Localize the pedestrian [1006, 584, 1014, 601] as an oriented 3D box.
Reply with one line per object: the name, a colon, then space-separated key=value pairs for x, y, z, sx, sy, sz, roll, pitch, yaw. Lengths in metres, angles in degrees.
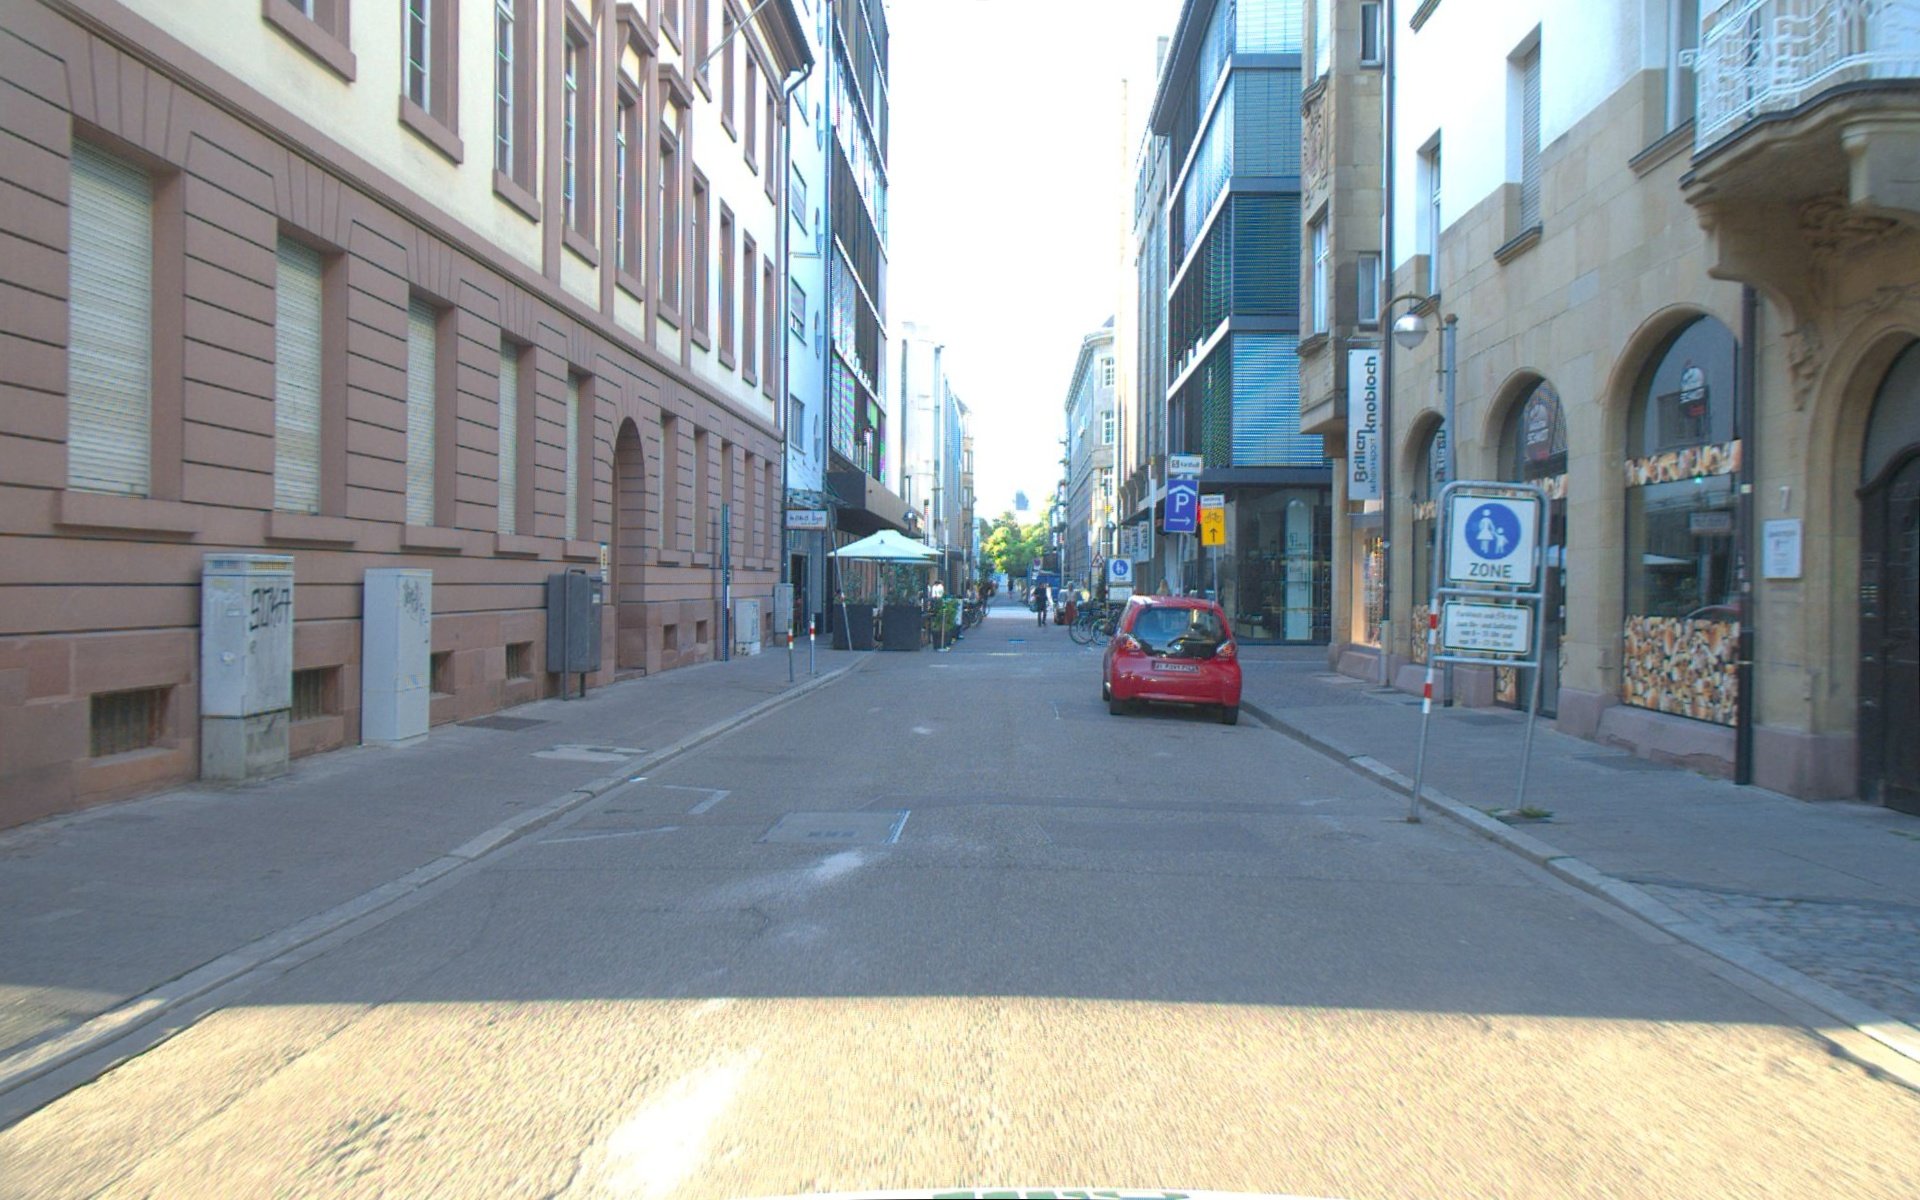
pedestrian: x=5.132 y=-0.756 z=168.316 sx=0.788 sy=1.702 sz=0.889 roll=0 pitch=0 yaw=4

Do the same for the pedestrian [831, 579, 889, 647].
pedestrian: x=-2.256 y=0.292 z=37.330 sx=1.264 sy=1.513 sz=0.661 roll=0 pitch=0 yaw=0

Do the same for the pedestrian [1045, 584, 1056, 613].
pedestrian: x=5.267 y=-0.076 z=96.270 sx=0.591 sy=1.651 sz=0.530 roll=0 pitch=0 yaw=4

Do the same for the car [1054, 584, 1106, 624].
car: x=5.076 y=0.145 z=70.507 sx=1.952 sy=1.639 sz=4.000 roll=0 pitch=0 yaw=0

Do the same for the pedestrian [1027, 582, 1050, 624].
pedestrian: x=3.263 y=0.122 z=68.911 sx=0.849 sy=1.743 sz=0.851 roll=0 pitch=0 yaw=-7

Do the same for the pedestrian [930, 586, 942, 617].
pedestrian: x=-1.318 y=0.084 z=90.435 sx=0.592 sy=1.651 sz=0.528 roll=0 pitch=0 yaw=-9

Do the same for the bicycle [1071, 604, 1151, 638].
bicycle: x=4.182 y=0.589 z=45.979 sx=2.156 sy=0.921 sz=0.649 roll=0 pitch=0 yaw=-2

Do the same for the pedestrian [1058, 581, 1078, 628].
pedestrian: x=3.828 y=0.151 z=58.675 sx=0.621 sy=1.648 sz=0.466 roll=0 pitch=0 yaw=-7

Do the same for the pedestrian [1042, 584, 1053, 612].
pedestrian: x=5.133 y=-0.101 z=96.886 sx=0.591 sy=1.651 sz=0.626 roll=0 pitch=0 yaw=4

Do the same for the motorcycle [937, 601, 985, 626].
motorcycle: x=0.039 y=0.506 z=61.393 sx=1.765 sy=0.891 sz=0.560 roll=0 pitch=0 yaw=-3

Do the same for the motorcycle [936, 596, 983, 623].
motorcycle: x=-0.027 y=0.360 z=62.423 sx=1.765 sy=1.007 sz=0.560 roll=0 pitch=0 yaw=-3

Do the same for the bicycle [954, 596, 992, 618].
bicycle: x=0.525 y=0.293 z=67.760 sx=1.499 sy=0.912 sz=0.481 roll=0 pitch=0 yaw=-26

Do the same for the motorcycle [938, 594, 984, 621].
motorcycle: x=0.034 y=0.296 z=64.063 sx=1.765 sy=1.007 sz=0.560 roll=0 pitch=0 yaw=-3

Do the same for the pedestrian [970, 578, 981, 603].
pedestrian: x=1.055 y=-0.641 z=112.100 sx=0.664 sy=1.651 sz=0.626 roll=0 pitch=0 yaw=4

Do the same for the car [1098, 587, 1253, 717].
car: x=2.713 y=0.604 z=21.445 sx=1.615 sy=1.452 sz=3.536 roll=3 pitch=1 yaw=2

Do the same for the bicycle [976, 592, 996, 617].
bicycle: x=1.214 y=0.208 z=78.472 sx=0.624 sy=1.177 sz=2.498 roll=0 pitch=0 yaw=-7

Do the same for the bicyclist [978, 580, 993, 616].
bicyclist: x=1.209 y=-0.090 z=78.537 sx=0.624 sy=1.669 sz=0.771 roll=0 pitch=0 yaw=-7

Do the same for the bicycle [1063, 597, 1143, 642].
bicycle: x=3.732 y=0.499 z=43.164 sx=2.011 sy=1.154 sz=0.649 roll=0 pitch=0 yaw=-2

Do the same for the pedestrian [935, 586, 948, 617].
pedestrian: x=-1.004 y=0.090 z=89.668 sx=0.592 sy=1.651 sz=0.528 roll=0 pitch=0 yaw=-9

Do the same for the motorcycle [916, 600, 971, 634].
motorcycle: x=-0.539 y=0.550 z=53.249 sx=1.765 sy=1.059 sz=0.493 roll=0 pitch=0 yaw=-3

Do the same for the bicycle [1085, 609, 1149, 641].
bicycle: x=3.953 y=0.639 z=41.734 sx=1.533 sy=0.782 sz=0.557 roll=0 pitch=0 yaw=-2

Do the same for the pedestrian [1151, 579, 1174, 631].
pedestrian: x=5.970 y=0.144 z=48.745 sx=0.643 sy=1.513 sz=0.493 roll=0 pitch=0 yaw=4
